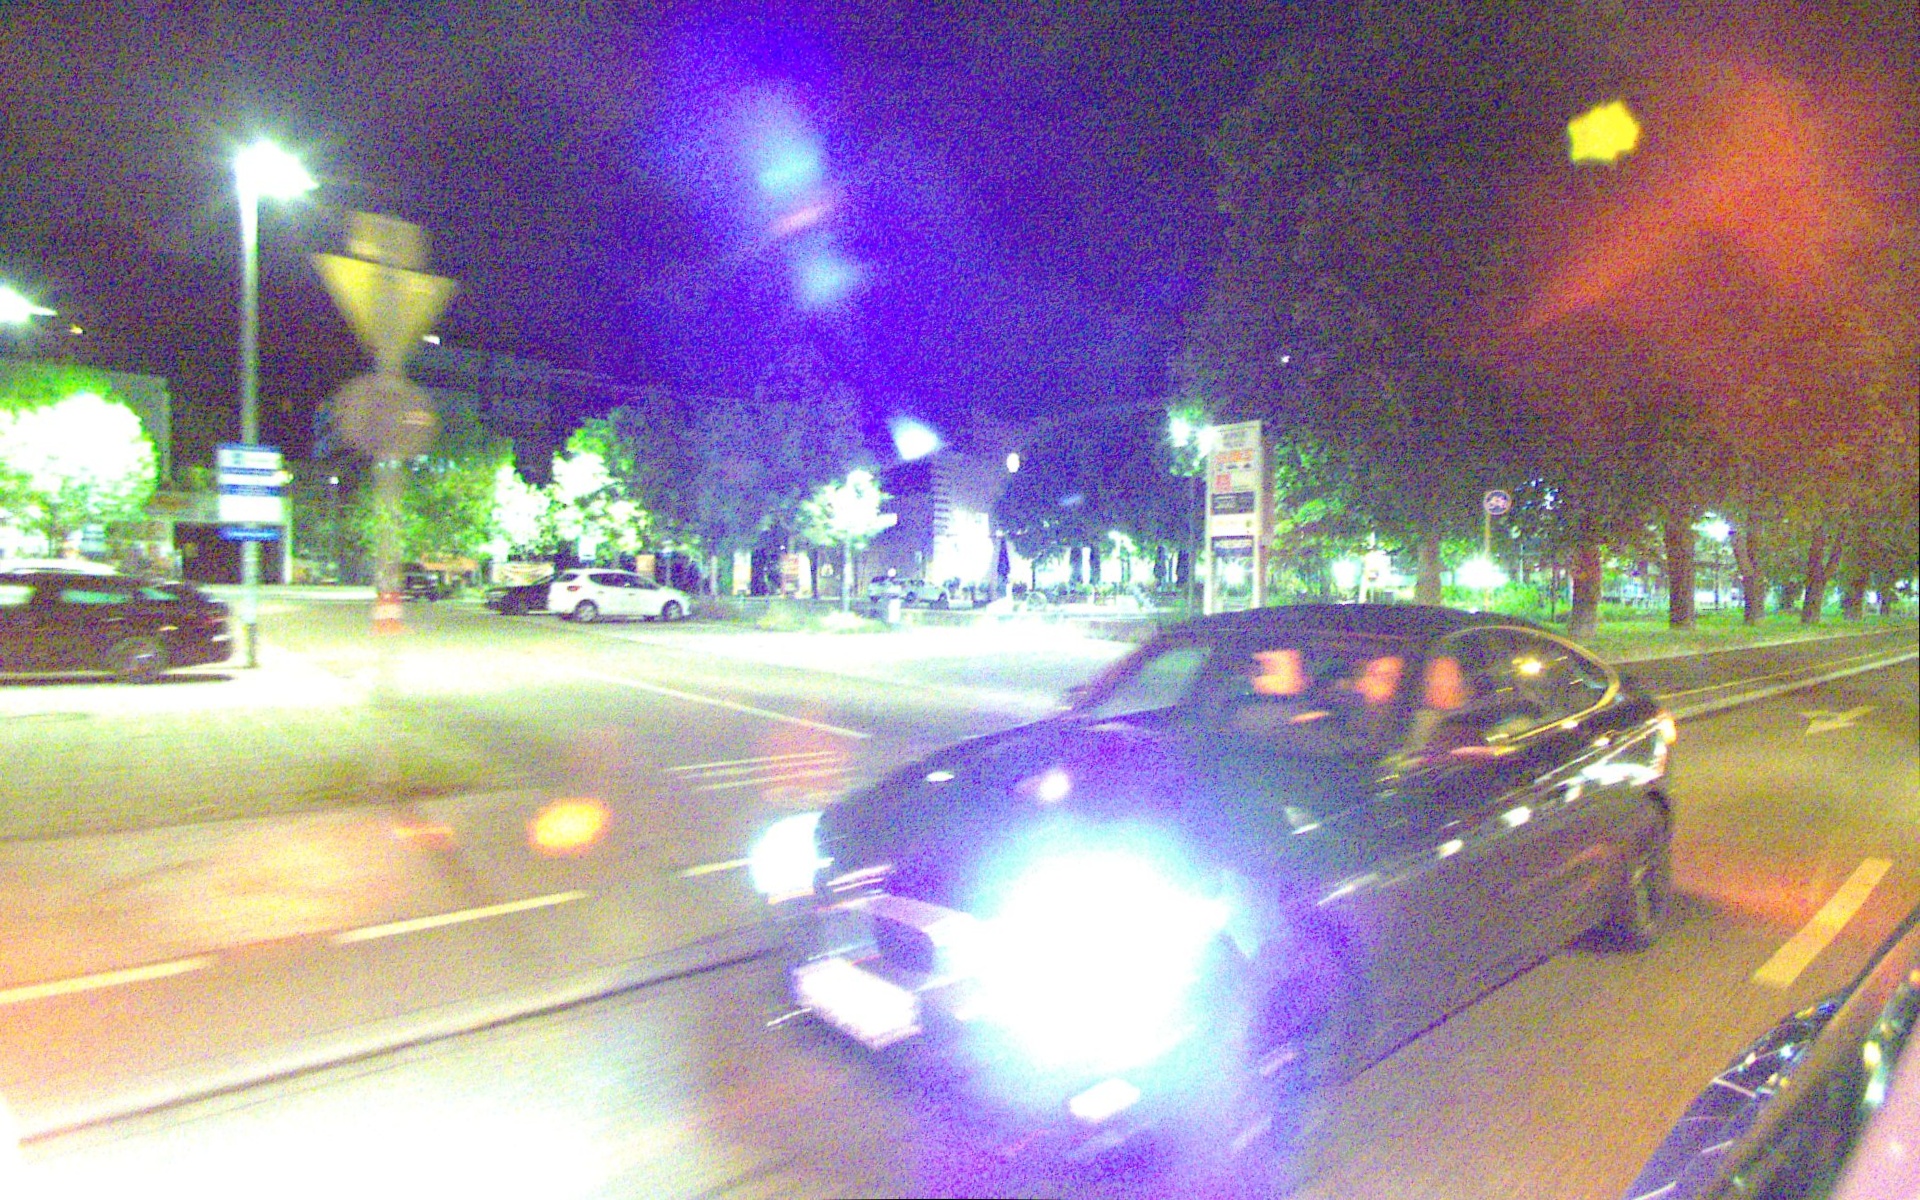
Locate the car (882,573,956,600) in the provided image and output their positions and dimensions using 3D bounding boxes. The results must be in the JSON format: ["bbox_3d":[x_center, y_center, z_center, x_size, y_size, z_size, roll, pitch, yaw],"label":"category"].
[{"bbox_3d":[-2.474,-0.813,61.576,4.226,1.527,1.997,0,2,-41],"label":"car"}]

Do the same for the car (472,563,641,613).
[{"bbox_3d":[-13.167,-0.388,33.218,4.808,1.531,1.892,0,1,-42],"label":"car"}]

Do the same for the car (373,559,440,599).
[{"bbox_3d":[-25.898,-0.992,47.288,2.042,1.787,4.549,0,1,-38],"label":"car"}]

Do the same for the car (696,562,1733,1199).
[{"bbox_3d":[1.460,0.687,4.214,4.645,1.513,1.808,0,-1,-40],"label":"car"}]

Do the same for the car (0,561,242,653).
[{"bbox_3d":[-15.641,0.096,18.546,3.928,1.552,1.786,0,1,-40],"label":"car"}]

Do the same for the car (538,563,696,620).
[{"bbox_3d":[-10.004,-0.250,29.643,4.026,1.552,1.772,0,1,-41],"label":"car"}]

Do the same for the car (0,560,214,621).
[{"bbox_3d":[-21.738,-0.252,25.878,4.167,1.446,1.997,0,1,-41],"label":"car"}]

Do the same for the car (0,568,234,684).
[{"bbox_3d":[-12.192,0.310,13.154,4.400,1.412,1.517,1,1,-39],"label":"car"}]
